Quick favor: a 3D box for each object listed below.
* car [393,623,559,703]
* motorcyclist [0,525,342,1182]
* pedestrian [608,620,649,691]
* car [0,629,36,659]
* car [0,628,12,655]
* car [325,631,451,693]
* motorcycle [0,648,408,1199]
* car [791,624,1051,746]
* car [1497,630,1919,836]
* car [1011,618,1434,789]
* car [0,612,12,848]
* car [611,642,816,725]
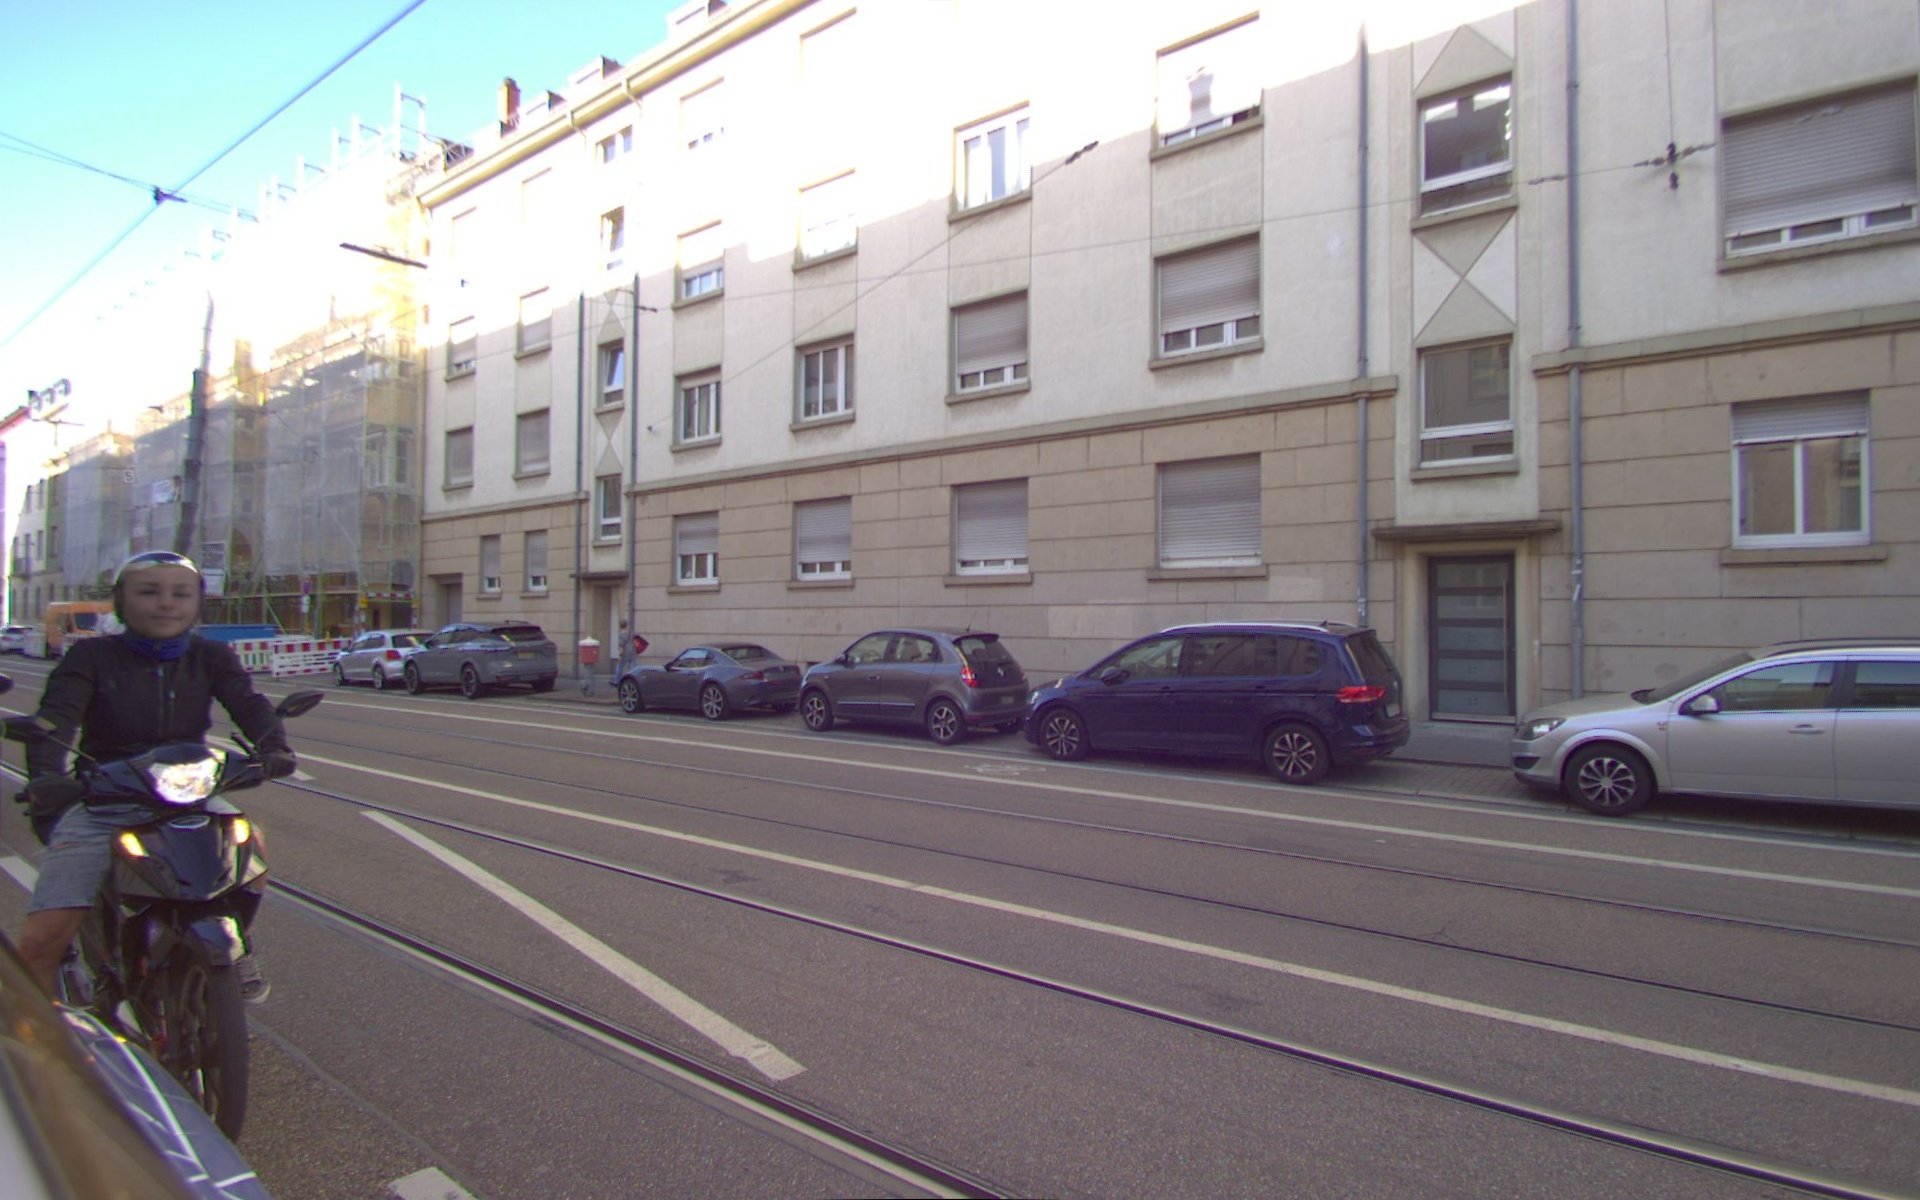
[{"bbox_3d":[-10.881,1.337,22.658,4.201,1.611,1.675,-1,-1,38],"label":"car"},{"bbox_3d":[-2.540,0.660,3.158,0.899,1.668,0.781,-2,-3,41],"label":"motorcyclist"},{"bbox_3d":[-7.378,1.224,22.545,0.693,1.553,0.563,-2,-3,39],"label":"pedestrian"},{"bbox_3d":[-50.065,2.276,53.337,3.964,1.498,1.662,-2,-1,42],"label":"car"},{"bbox_3d":[-54.581,2.332,56.813,3.964,1.498,1.662,-2,-1,42],"label":"car"},{"bbox_3d":[-14.383,1.502,25.394,3.506,1.423,1.524,-1,-1,38],"label":"car"},{"bbox_3d":[-2.637,0.821,3.235,2.272,1.302,0.781,-2,-3,41],"label":"motorcycle"},{"bbox_3d":[-0.626,1.136,14.653,3.535,1.539,1.659,-1,-1,38],"label":"car"},{"bbox_3d":[7.128,1.005,8.500,4.383,1.489,1.779,-1,-1,38],"label":"car"},{"bbox_3d":[2.895,1.035,11.674,4.383,1.611,1.779,-1,-1,38],"label":"car"},{"bbox_3d":[-8.118,0.859,7.004,4.143,1.473,1.664,-2,-1,38],"label":"car"},{"bbox_3d":[-4.312,1.369,17.498,3.681,1.244,1.502,-1,-1,38],"label":"car"}]
